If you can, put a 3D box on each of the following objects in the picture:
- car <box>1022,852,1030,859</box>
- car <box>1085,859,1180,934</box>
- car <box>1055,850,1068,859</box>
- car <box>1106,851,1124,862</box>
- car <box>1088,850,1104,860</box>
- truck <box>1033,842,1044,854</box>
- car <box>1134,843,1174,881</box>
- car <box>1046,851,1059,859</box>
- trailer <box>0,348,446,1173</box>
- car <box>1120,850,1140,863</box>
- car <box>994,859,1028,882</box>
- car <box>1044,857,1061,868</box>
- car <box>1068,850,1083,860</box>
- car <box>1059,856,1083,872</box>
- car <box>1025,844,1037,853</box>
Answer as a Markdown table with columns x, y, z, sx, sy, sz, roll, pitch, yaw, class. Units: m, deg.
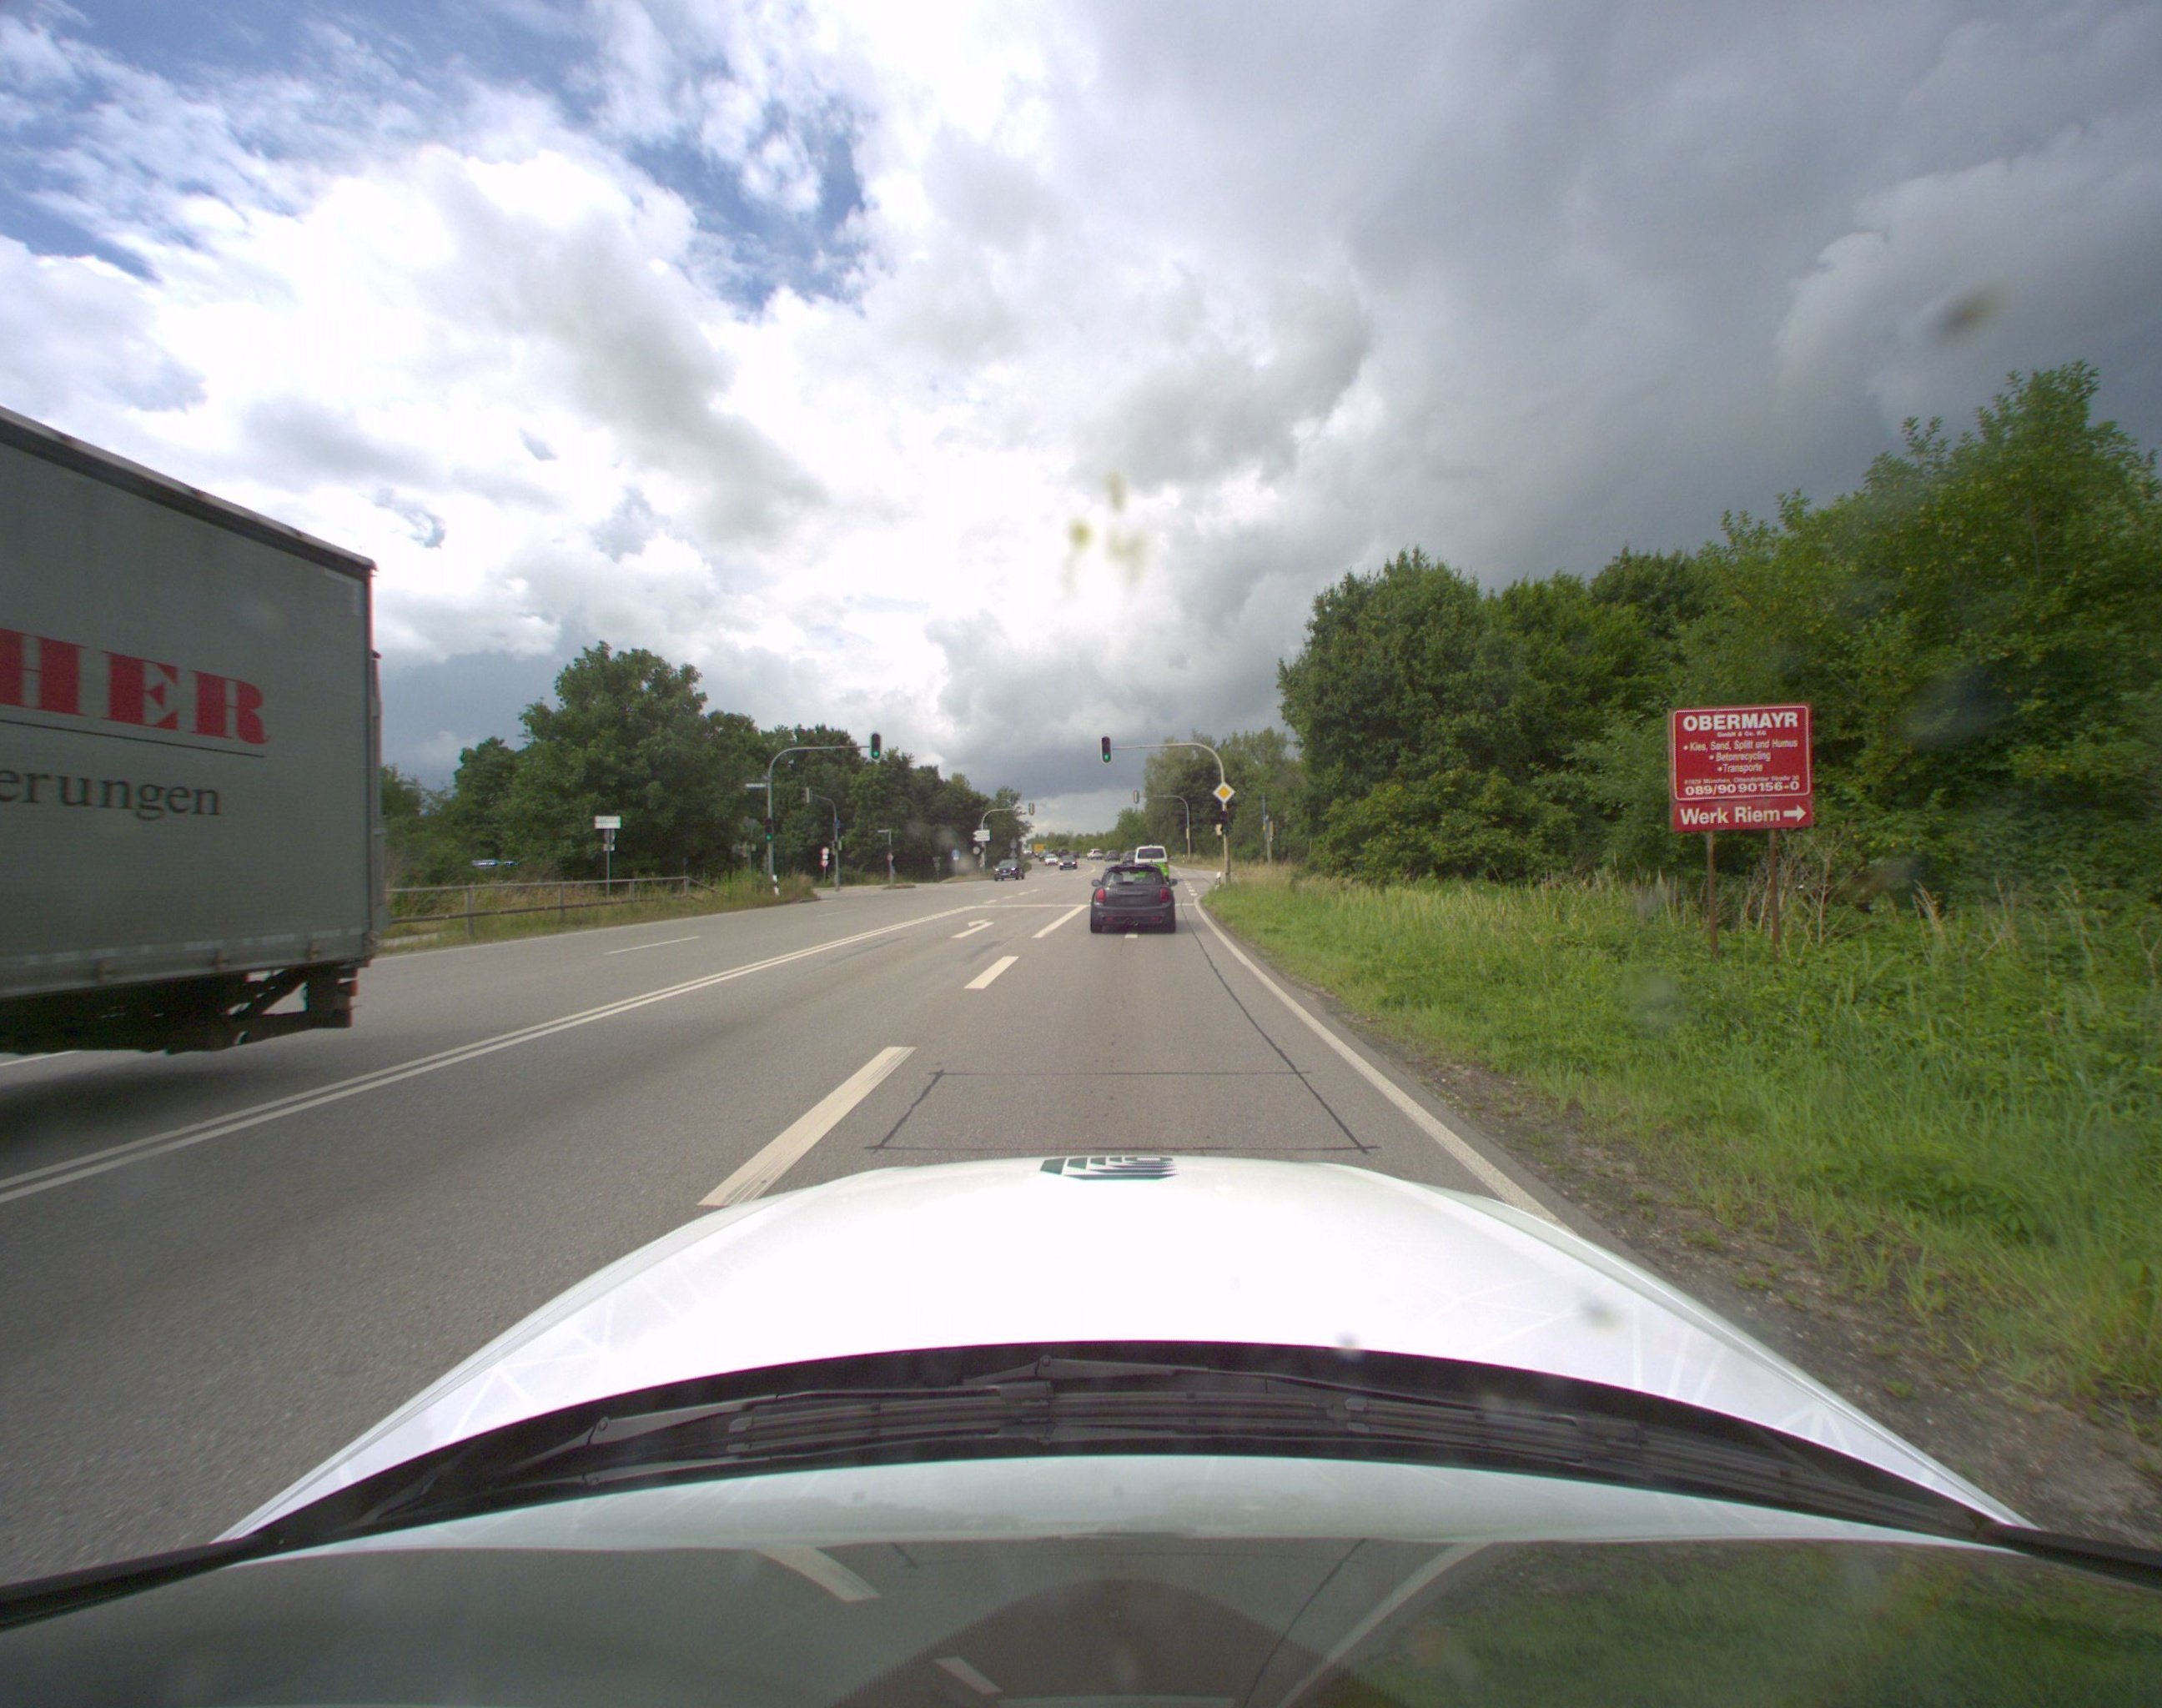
| x | y | z | sx | sy | sz | roll | pitch | yaw | class |
| --- | --- | --- | --- | --- | --- | --- | --- | --- | --- |
| -13.916 | 0.447 | 205.434 | 1.990 | 1.613 | 3.994 | -2 | 1 | -5 | car |
| 1.105 | 0.844 | 17.859 | 1.837 | 1.428 | 3.843 | -1 | 0 | 3 | car |
| -3.864 | 0.155 | 164.009 | 1.993 | 1.696 | 4.471 | -1 | -1 | -9 | car |
| 4.688 | 0.359 | 113.684 | 1.990 | 1.476 | 4.479 | -1 | -1 | -4 | car |
| 2.474 | 0.156 | 131.217 | 1.991 | 1.476 | 4.475 | -1 | -1 | -6 | car |
| -11.342 | -1.548 | 217.585 | 2.711 | 2.898 | 8.758 | -1 | -2 | -3 | truck |
| 4.082 | 0.406 | 45.028 | 1.833 | 1.986 | 3.853 | -1 | 1 | 10 | car |
| -6.303 | 0.299 | 180.362 | 1.995 | 1.696 | 4.468 | -1 | -1 | -11 | car |
| -6.641 | -0.459 | 3.389 | 2.518 | 4.101 | 6.737 | -1 | -1 | 2 | trailer |
| 5.726 | 0.307 | 95.842 | 1.987 | 1.476 | 4.484 | -1 | -1 | -1 | car |
| -5.194 | 1.218 | 60.835 | 1.782 | 1.573 | 4.006 | -2 | 0 | 6 | car |
| -3.941 | 1.180 | 113.203 | 1.721 | 1.505 | 4.353 | -2 | 0 | 6 | car |
| -1.028 | 0.174 | 149.655 | 1.993 | 1.696 | 4.471 | -1 | -1 | -9 | car |
| -1.020 | 1.044 | 88.216 | 1.778 | 1.530 | 4.914 | -4 | -1 | 8 | car |
| -9.685 | -1.015 | 157.256 | 1.992 | 1.690 | 3.991 | -2 | 1 | -7 | car |
